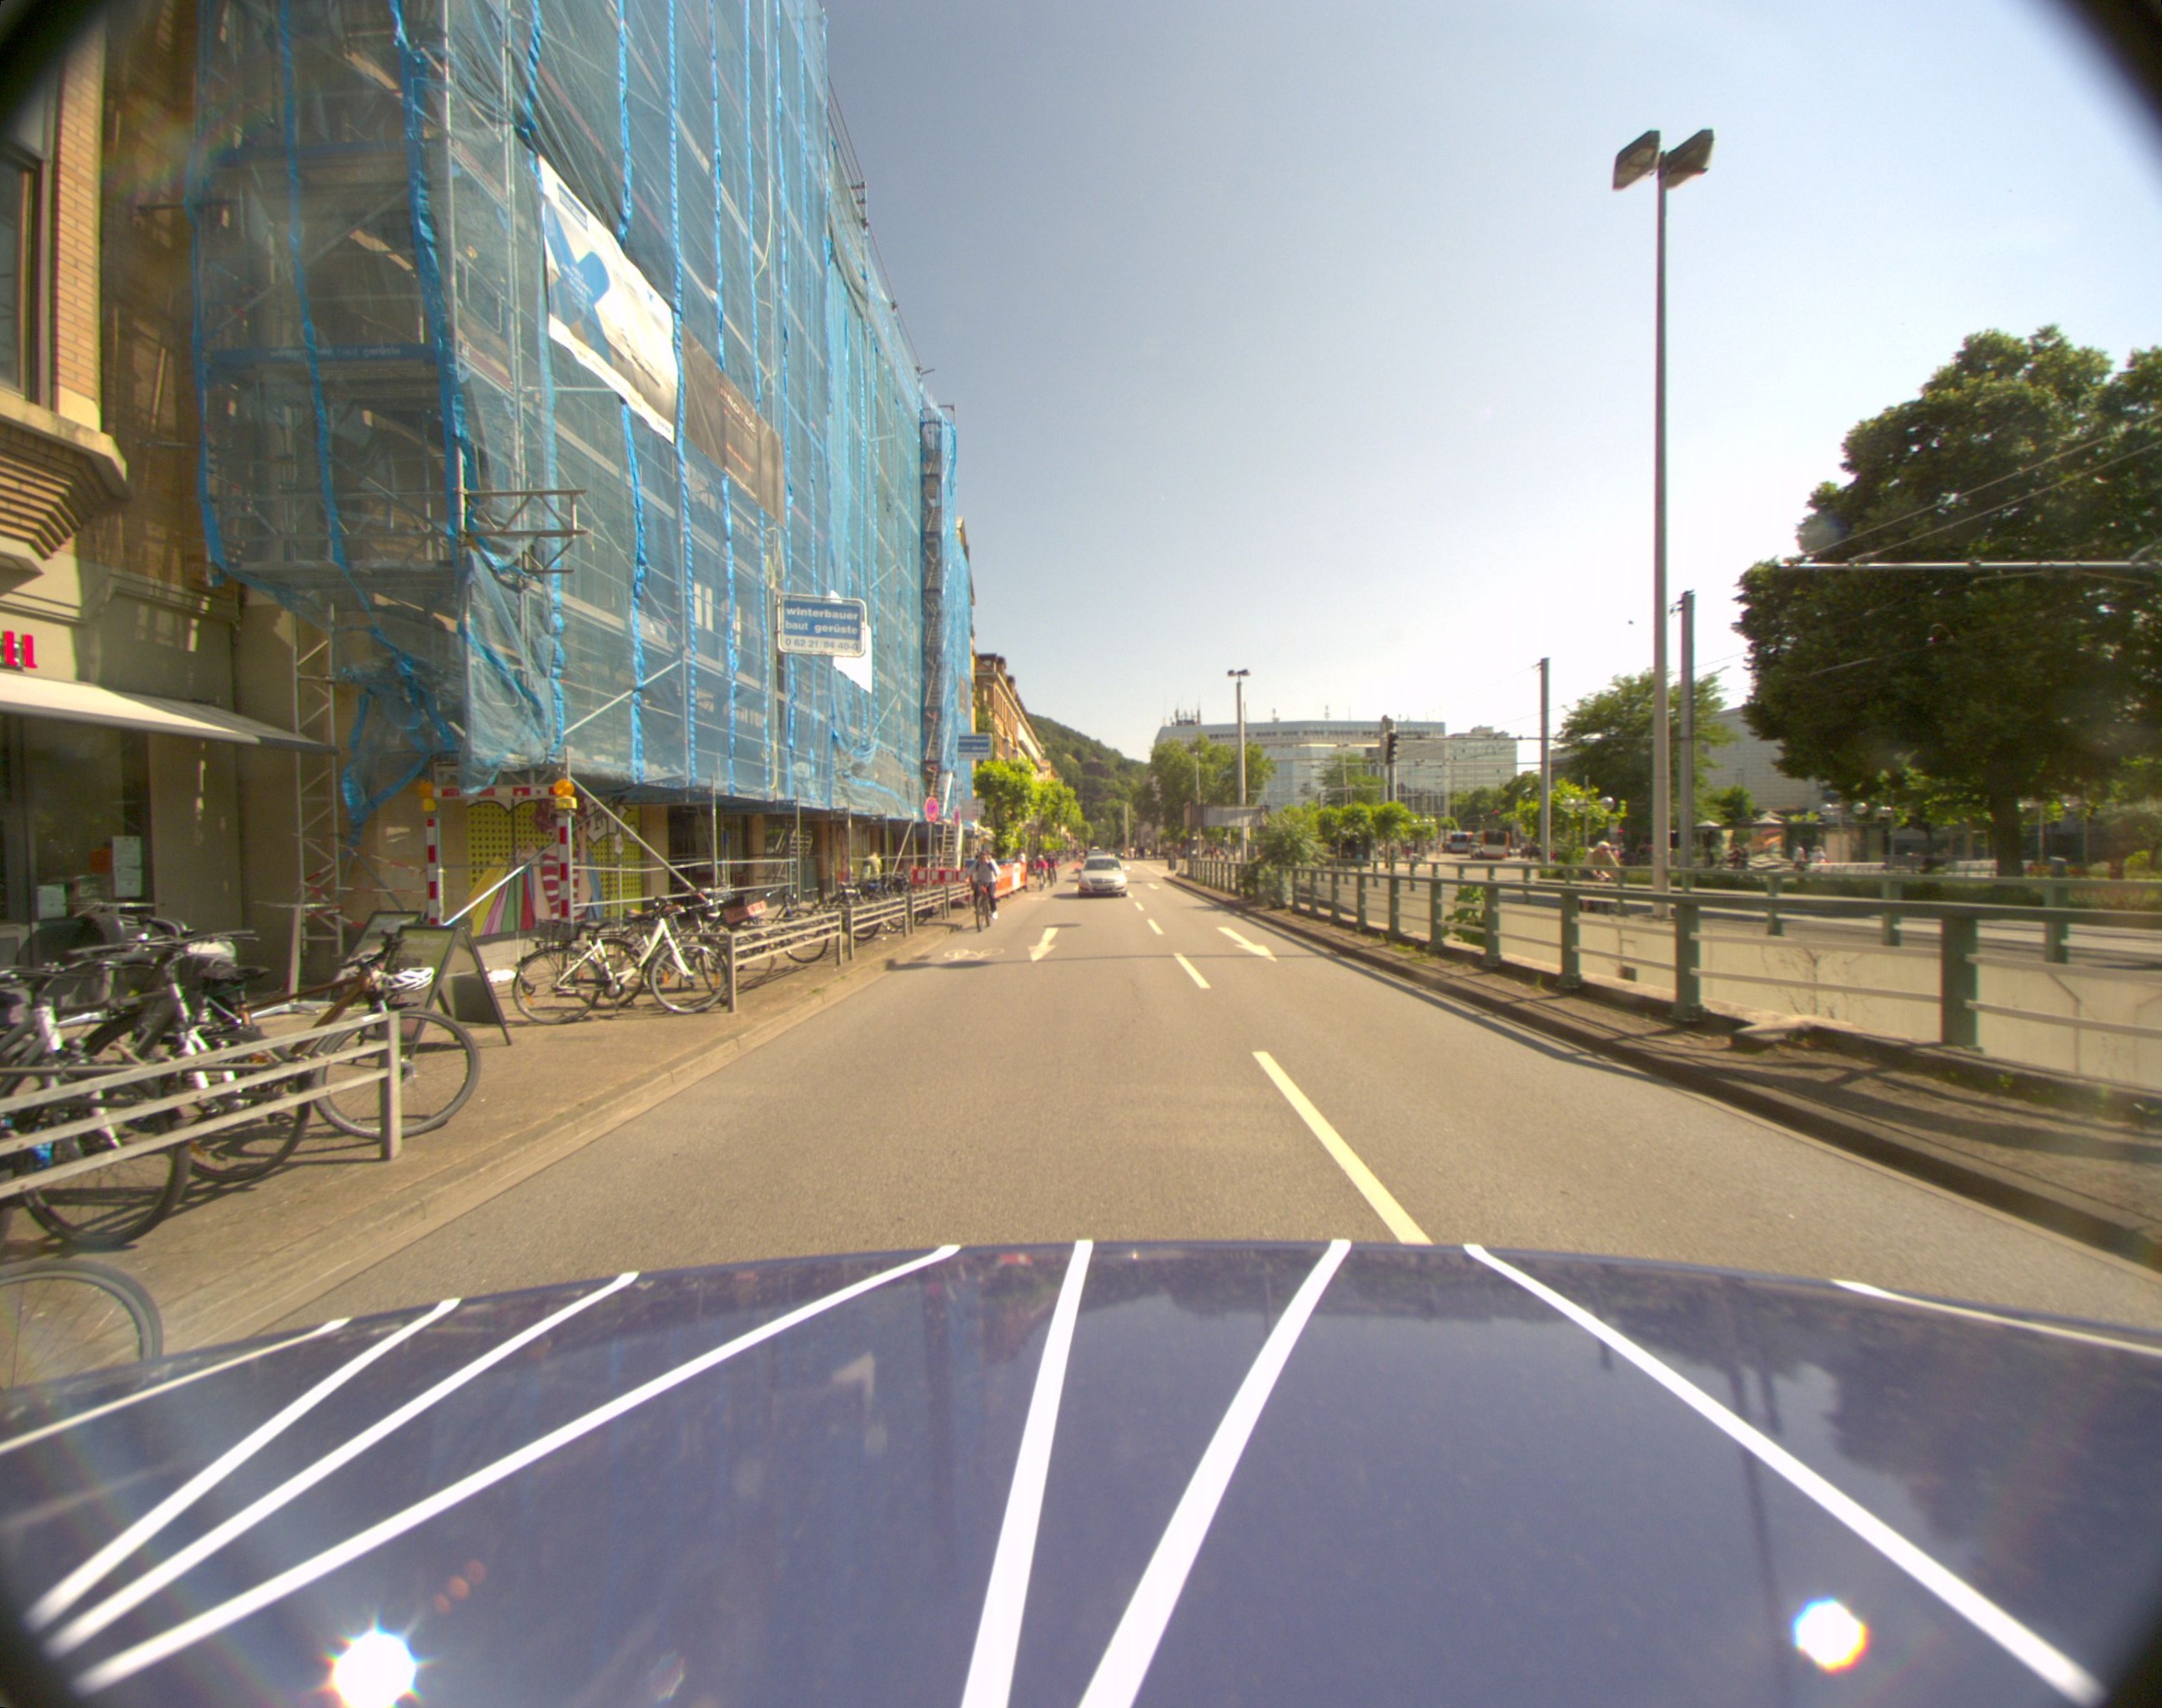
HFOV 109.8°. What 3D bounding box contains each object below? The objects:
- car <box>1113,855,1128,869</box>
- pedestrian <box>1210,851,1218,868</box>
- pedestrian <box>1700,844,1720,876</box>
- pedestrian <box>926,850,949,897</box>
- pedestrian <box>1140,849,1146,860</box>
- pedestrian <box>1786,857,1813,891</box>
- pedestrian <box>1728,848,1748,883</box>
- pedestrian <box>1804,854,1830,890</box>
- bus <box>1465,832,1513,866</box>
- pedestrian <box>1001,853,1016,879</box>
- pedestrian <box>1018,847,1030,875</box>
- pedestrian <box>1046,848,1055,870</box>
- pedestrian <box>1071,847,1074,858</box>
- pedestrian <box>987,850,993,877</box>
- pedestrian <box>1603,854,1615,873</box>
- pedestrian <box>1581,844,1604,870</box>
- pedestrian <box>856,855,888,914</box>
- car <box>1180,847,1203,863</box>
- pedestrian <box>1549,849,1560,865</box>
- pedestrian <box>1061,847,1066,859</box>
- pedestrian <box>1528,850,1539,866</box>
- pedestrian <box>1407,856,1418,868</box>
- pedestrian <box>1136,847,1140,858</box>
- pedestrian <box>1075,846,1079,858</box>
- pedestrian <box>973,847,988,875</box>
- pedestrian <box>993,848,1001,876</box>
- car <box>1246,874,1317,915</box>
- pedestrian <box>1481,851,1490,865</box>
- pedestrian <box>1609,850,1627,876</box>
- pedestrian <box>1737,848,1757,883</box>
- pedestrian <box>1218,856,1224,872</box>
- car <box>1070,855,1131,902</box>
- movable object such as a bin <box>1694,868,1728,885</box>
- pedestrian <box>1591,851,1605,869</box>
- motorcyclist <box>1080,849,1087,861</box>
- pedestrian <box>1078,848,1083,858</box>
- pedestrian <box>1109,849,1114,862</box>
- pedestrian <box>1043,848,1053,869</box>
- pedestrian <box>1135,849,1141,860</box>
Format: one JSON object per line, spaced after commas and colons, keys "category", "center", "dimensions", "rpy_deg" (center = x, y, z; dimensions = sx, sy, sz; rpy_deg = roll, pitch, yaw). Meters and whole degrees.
{"category": "car", "center": [6.009, 1.257, 116.902], "dimensions": [1.999, 2.002, 3.999], "rpy_deg": [-3, 1, 0]}
{"category": "pedestrian", "center": [13.837, 0.544, 78.960], "dimensions": [0.527, 1.723, 0.586], "rpy_deg": [1, 1, -28]}
{"category": "pedestrian", "center": [40.483, 0.391, 48.917], "dimensions": [0.630, 1.996, 0.736], "rpy_deg": [1, 1, 7]}
{"category": "pedestrian", "center": [-5.546, 0.760, 29.382], "dimensions": [0.641, 1.766, 0.649], "rpy_deg": [-3, 1, 1]}
{"category": "pedestrian", "center": [9.203, 0.025, 113.228], "dimensions": [0.630, 1.639, 0.753], "rpy_deg": [-2, 1, 28]}
{"category": "pedestrian", "center": [32.322, 0.879, 34.177], "dimensions": [0.526, 1.484, 0.661], "rpy_deg": [2, 0, -1]}
{"category": "pedestrian", "center": [30.247, 0.538, 34.984], "dimensions": [0.452, 1.600, 0.466], "rpy_deg": [2, 1, 7]}
{"category": "pedestrian", "center": [33.429, 0.828, 34.509], "dimensions": [0.494, 1.600, 0.620], "rpy_deg": [2, 0, -5]}
{"category": "bus", "center": [46.234, -0.663, 86.375], "dimensions": [3.060, 3.400, 12.475], "rpy_deg": [-2, 1, 21]}
{"category": "pedestrian", "center": [-5.099, 0.848, 53.554], "dimensions": [0.816, 1.838, 0.892], "rpy_deg": [1, 2, 9]}
{"category": "pedestrian", "center": [-3.543, 0.425, 47.197], "dimensions": [0.658, 1.673, 0.652], "rpy_deg": [-1, 2, -10]}
{"category": "pedestrian", "center": [-2.334, 0.400, 57.837], "dimensions": [0.601, 1.617, 0.643], "rpy_deg": [2, 1, -10]}
{"category": "pedestrian", "center": [-1.294, -0.236, 116.045], "dimensions": [0.578, 1.775, 0.699], "rpy_deg": [0, 1, -1]}
{"category": "pedestrian", "center": [-5.565, 0.584, 46.443], "dimensions": [0.382, 1.673, 0.476], "rpy_deg": [0, 2, -4]}
{"category": "pedestrian", "center": [36.216, 0.648, 52.117], "dimensions": [0.404, 1.256, 0.481], "rpy_deg": [1, 0, -17]}
{"category": "pedestrian", "center": [36.439, 0.207, 54.170], "dimensions": [0.966, 1.783, 1.081], "rpy_deg": [2, 0, 11]}
{"category": "pedestrian", "center": [-5.920, 0.848, 21.578], "dimensions": [0.645, 1.592, 0.765], "rpy_deg": [-3, 1, -4]}
{"category": "car", "center": [15.464, 0.127, 106.204], "dimensions": [1.995, 2.002, 5.074], "rpy_deg": [-2, 1, 23]}
{"category": "pedestrian", "center": [43.832, 0.316, 70.342], "dimensions": [0.624, 1.457, 0.681], "rpy_deg": [2, 0, 6]}
{"category": "pedestrian", "center": [-2.279, -0.133, 98.616], "dimensions": [0.606, 1.529, 0.666], "rpy_deg": [-3, 1, 0]}
{"category": "pedestrian", "center": [44.046, 0.395, 73.983], "dimensions": [0.625, 1.457, 0.680], "rpy_deg": [2, 0, -1]}
{"category": "pedestrian", "center": [27.244, 0.643, 62.506], "dimensions": [0.635, 0.995, 0.580], "rpy_deg": [2, 0, 4]}
{"category": "pedestrian", "center": [8.884, -0.217, 118.309], "dimensions": [0.612, 1.737, 0.752], "rpy_deg": [-2, 1, 0]}
{"category": "pedestrian", "center": [-0.602, -0.288, 113.025], "dimensions": [0.578, 1.835, 0.717], "rpy_deg": [-3, 1, -1]}
{"category": "pedestrian", "center": [-6.343, 0.445, 48.011], "dimensions": [0.669, 1.771, 0.985], "rpy_deg": [0, 1, 6]}
{"category": "pedestrian", "center": [-5.165, 0.474, 46.745], "dimensions": [0.499, 1.673, 0.536], "rpy_deg": [1, 2, -6]}
{"category": "car", "center": [8.154, 1.613, 31.260], "dimensions": [1.699, 1.397, 3.999], "rpy_deg": [3, 0, -1]}
{"category": "pedestrian", "center": [41.791, 0.378, 78.479], "dimensions": [0.526, 1.457, 0.588], "rpy_deg": [1, 0, -18]}
{"category": "pedestrian", "center": [35.613, 0.569, 50.400], "dimensions": [0.678, 1.696, 0.705], "rpy_deg": [1, 1, 1]}
{"category": "pedestrian", "center": [30.129, 0.518, 34.385], "dimensions": [0.414, 1.600, 0.495], "rpy_deg": [2, 0, 0]}
{"category": "pedestrian", "center": [14.566, 1.067, 78.942], "dimensions": [0.525, 1.600, 0.627], "rpy_deg": [2, 0, 11]}
{"category": "car", "center": [0.740, 0.814, 27.201], "dimensions": [1.917, 1.401, 4.000], "rpy_deg": [-4, 1, 3]}
{"category": "movable object such as a bin", "center": [29.527, 1.061, 35.600], "dimensions": [0.909, 0.750, 0.800], "rpy_deg": [2, 0, 2]}
{"category": "pedestrian", "center": [37.264, 0.450, 54.726], "dimensions": [0.622, 1.256, 0.582], "rpy_deg": [2, 0, 11]}
{"category": "motorcyclist", "center": [0.340, 0.127, 97.380], "dimensions": [0.736, 1.446, 0.707], "rpy_deg": [-3, 1, 2]}
{"category": "pedestrian", "center": [-0.057, -0.197, 122.634], "dimensions": [0.672, 1.488, 0.637], "rpy_deg": [-3, 2, -12]}
{"category": "pedestrian", "center": [4.083, 0.163, 102.145], "dimensions": [0.699, 1.775, 0.578], "rpy_deg": [0, 1, -4]}
{"category": "pedestrian", "center": [-2.532, 0.334, 58.507], "dimensions": [0.697, 1.617, 0.701], "rpy_deg": [0, 1, -10]}
{"category": "pedestrian", "center": [9.178, 0.096, 122.602], "dimensions": [0.876, 1.737, 0.733], "rpy_deg": [-2, 1, 0]}
